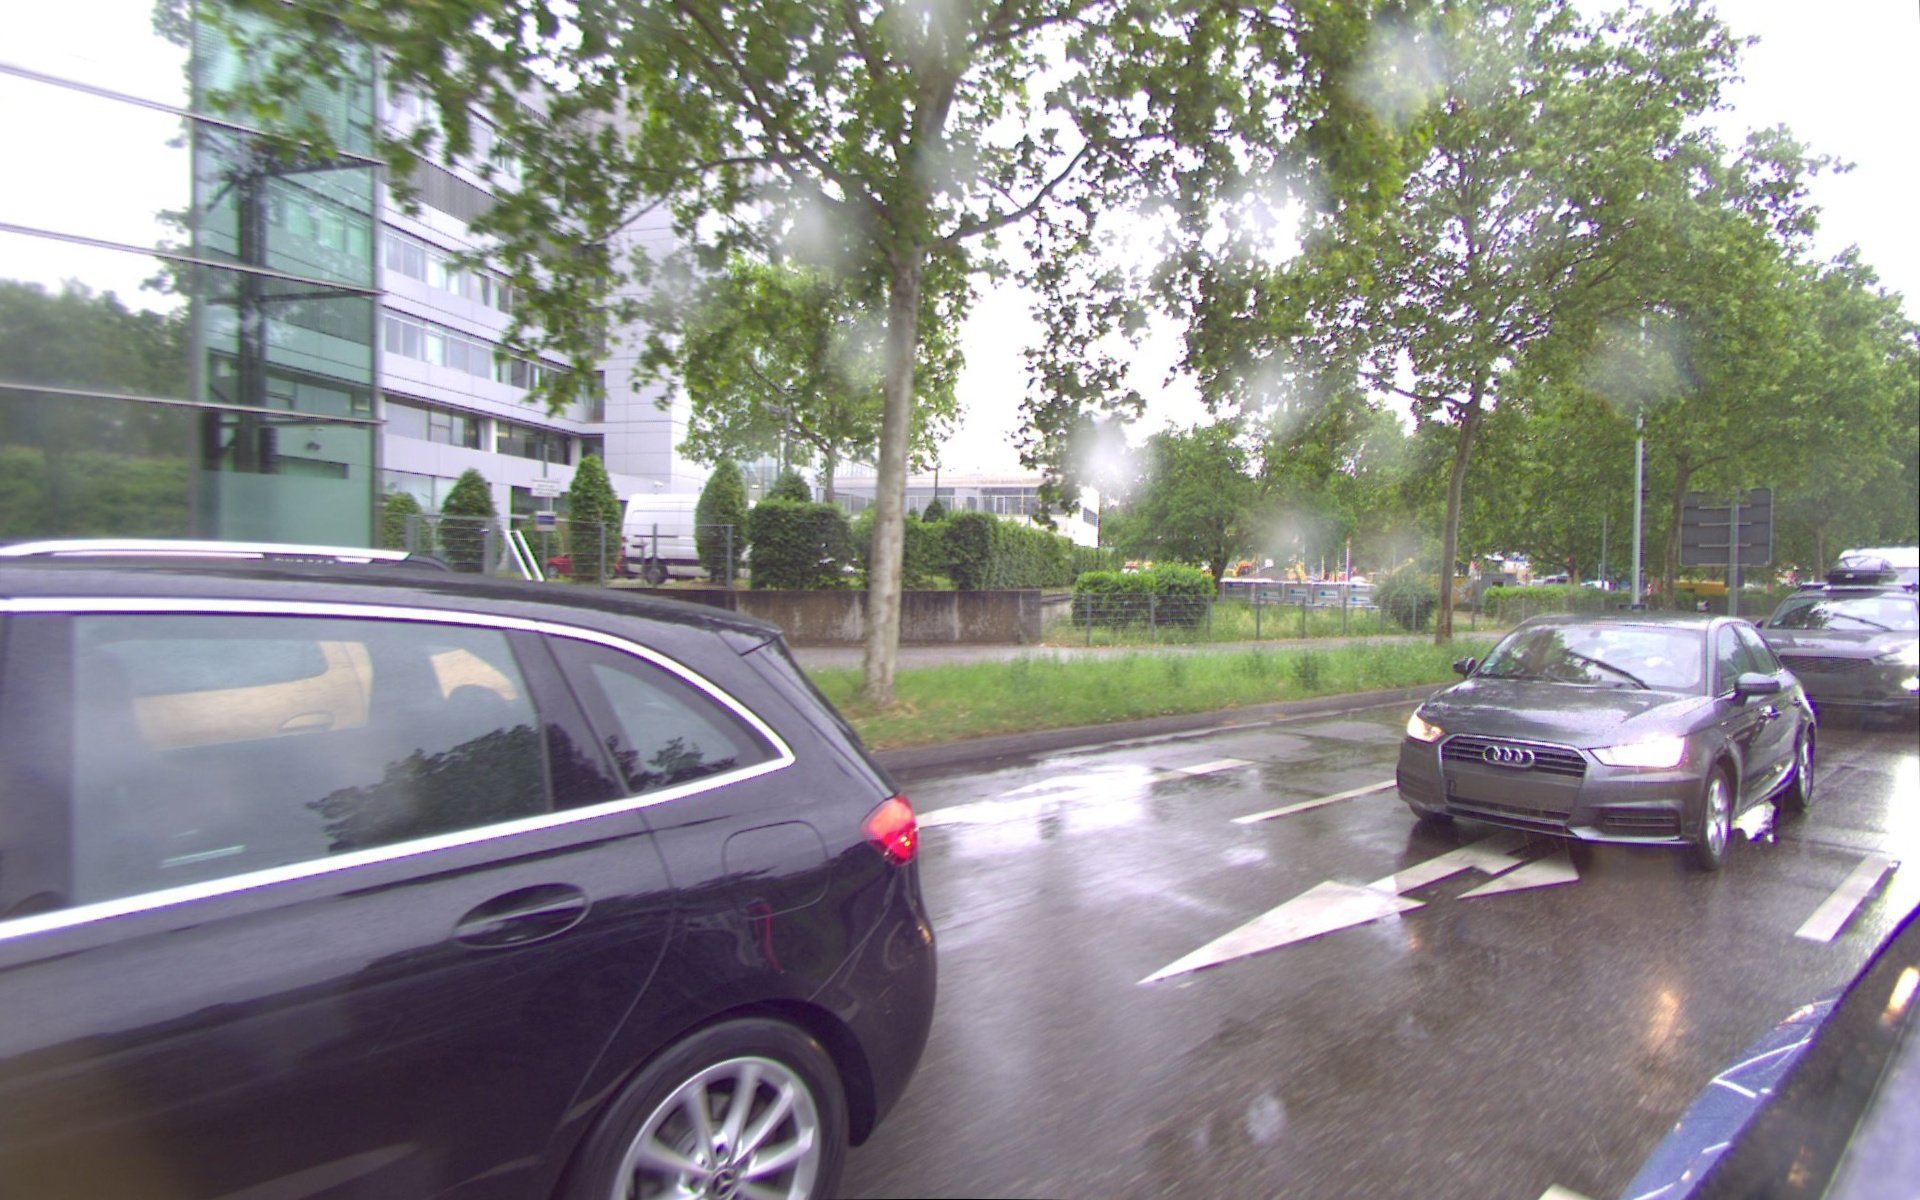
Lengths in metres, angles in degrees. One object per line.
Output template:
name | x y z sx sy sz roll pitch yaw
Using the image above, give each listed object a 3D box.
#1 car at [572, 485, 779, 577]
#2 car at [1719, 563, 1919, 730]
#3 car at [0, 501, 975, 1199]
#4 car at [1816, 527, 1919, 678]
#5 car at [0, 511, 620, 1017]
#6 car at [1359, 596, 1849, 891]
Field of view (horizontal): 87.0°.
car | -8.346 -1.959 29.797 5.610 2.487 1.992 0 0 13
car | 11.403 0.464 12.812 4.252 1.769 1.997 0 2 -41
car | -2.077 0.623 1.660 4.018 1.542 1.873 -1 2 -43
car | 17.373 0.014 18.399 4.891 2.460 1.997 0 2 -41
car | -3.724 0.505 4.029 4.096 1.652 1.904 0 2 -40
car | 4.492 0.696 6.865 3.688 1.416 1.839 0 1 -41
